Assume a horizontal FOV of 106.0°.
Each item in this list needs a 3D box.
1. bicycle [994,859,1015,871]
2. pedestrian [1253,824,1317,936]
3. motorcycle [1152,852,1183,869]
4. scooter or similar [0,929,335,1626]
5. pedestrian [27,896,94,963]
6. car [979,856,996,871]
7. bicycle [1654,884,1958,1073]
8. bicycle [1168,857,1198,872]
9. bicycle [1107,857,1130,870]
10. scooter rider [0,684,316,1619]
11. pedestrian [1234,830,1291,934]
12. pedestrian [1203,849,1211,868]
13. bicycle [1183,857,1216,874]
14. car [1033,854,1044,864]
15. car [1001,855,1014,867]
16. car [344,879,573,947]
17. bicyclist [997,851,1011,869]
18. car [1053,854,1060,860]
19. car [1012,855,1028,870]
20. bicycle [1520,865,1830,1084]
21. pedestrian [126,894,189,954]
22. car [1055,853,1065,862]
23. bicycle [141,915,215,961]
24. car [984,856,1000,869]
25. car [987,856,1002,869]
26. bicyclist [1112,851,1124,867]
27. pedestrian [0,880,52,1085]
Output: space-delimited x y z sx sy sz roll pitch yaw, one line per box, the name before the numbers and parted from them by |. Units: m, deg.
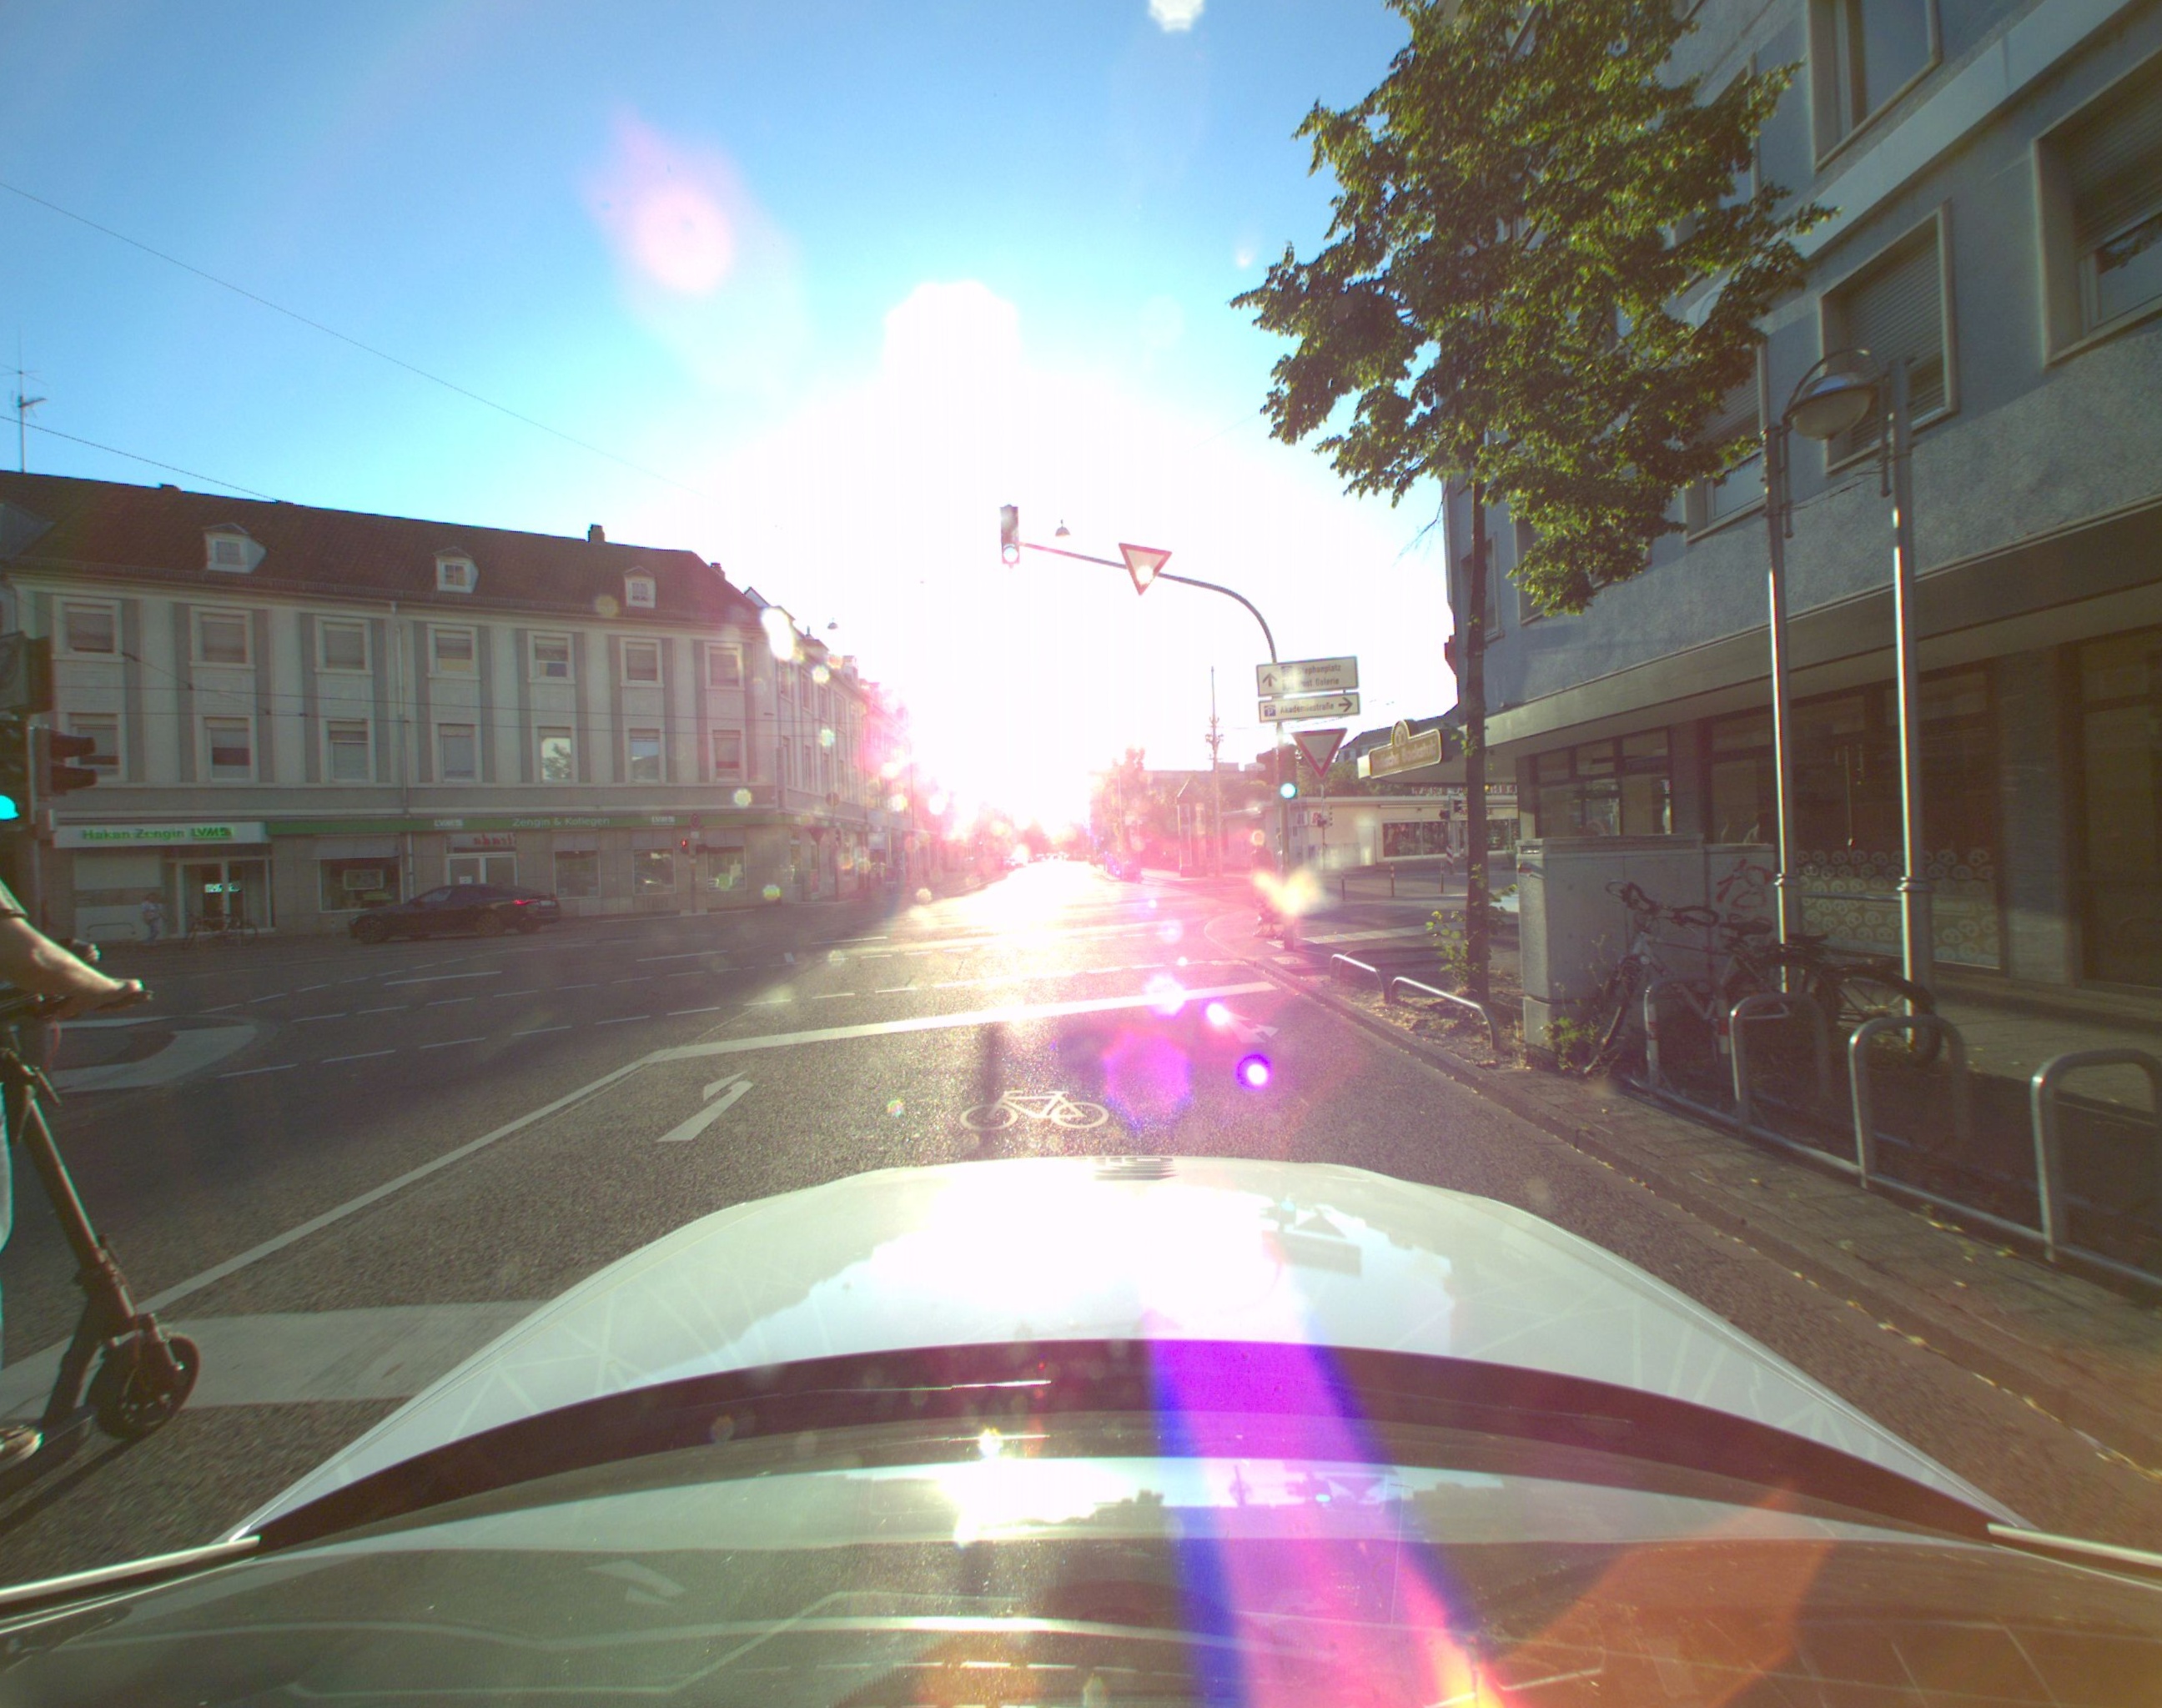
bicycle | -7.754 1.101 82.295 2.100 1.204 0.502 -1 -1 18
pedestrian | 3.380 0.422 13.545 0.640 1.773 0.744 -3 0 -22
motorcycle | 6.425 0.495 60.814 2.225 1.201 0.721 -2 0 3
scooter or similar | -2.501 0.911 1.579 0.542 1.350 1.668 -2 0 -1
pedestrian | -28.302 2.068 22.605 0.815 1.728 0.821 -2 1 -26
car | -10.212 1.000 89.034 1.541 1.483 3.349 -3 0 -2
bicycle | 4.827 0.754 5.590 0.402 1.010 1.666 -4 0 -7
bicycle | 7.256 0.758 57.761 2.067 0.982 0.561 -2 -1 6
bicycle | 3.465 0.904 75.286 2.099 1.204 0.503 -1 -1 20
scooter rider | -2.501 0.580 1.824 0.809 1.807 0.788 -1 -1 -1
pedestrian | 3.228 0.487 14.503 0.589 1.773 0.742 -2 0 -33
pedestrian | 10.969 0.428 71.052 0.677 1.657 0.697 -1 -1 6
bicycle | 7.550 0.725 51.925 2.010 1.044 0.561 -2 -1 6
car | -8.213 0.929 157.758 1.987 1.684 4.000 -3 0 0
car | -9.894 0.938 110.039 1.479 1.559 3.256 -2 -1 -2
car | -16.585 1.540 21.888 4.519 1.480 1.894 -3 -1 -4
bicyclist | -7.799 0.652 82.342 1.120 1.791 0.768 -1 -1 19
car | -7.373 0.952 246.150 1.987 1.816 4.000 -1 -1 0
car | -6.613 0.920 88.497 1.541 1.468 3.349 -2 -1 -2
bicycle | 3.645 0.699 5.031 1.655 1.194 0.476 -2 0 -7
pedestrian | -27.289 2.051 24.079 0.811 1.640 0.825 -2 1 -9
car | -4.555 0.749 177.229 1.987 2.014 3.999 -1 -1 0
bicycle | -25.053 2.309 22.624 0.498 1.059 1.733 -3 1 -16
car | -10.114 0.995 92.681 1.541 1.469 3.349 -2 -1 -2
car | -10.367 1.017 97.650 1.541 1.469 3.349 -2 -1 -2
bicyclist | 3.408 0.483 75.331 0.891 1.482 0.739 -1 -1 21
pedestrian | -9.160 1.056 6.684 0.588 1.656 0.792 -2 0 -29
